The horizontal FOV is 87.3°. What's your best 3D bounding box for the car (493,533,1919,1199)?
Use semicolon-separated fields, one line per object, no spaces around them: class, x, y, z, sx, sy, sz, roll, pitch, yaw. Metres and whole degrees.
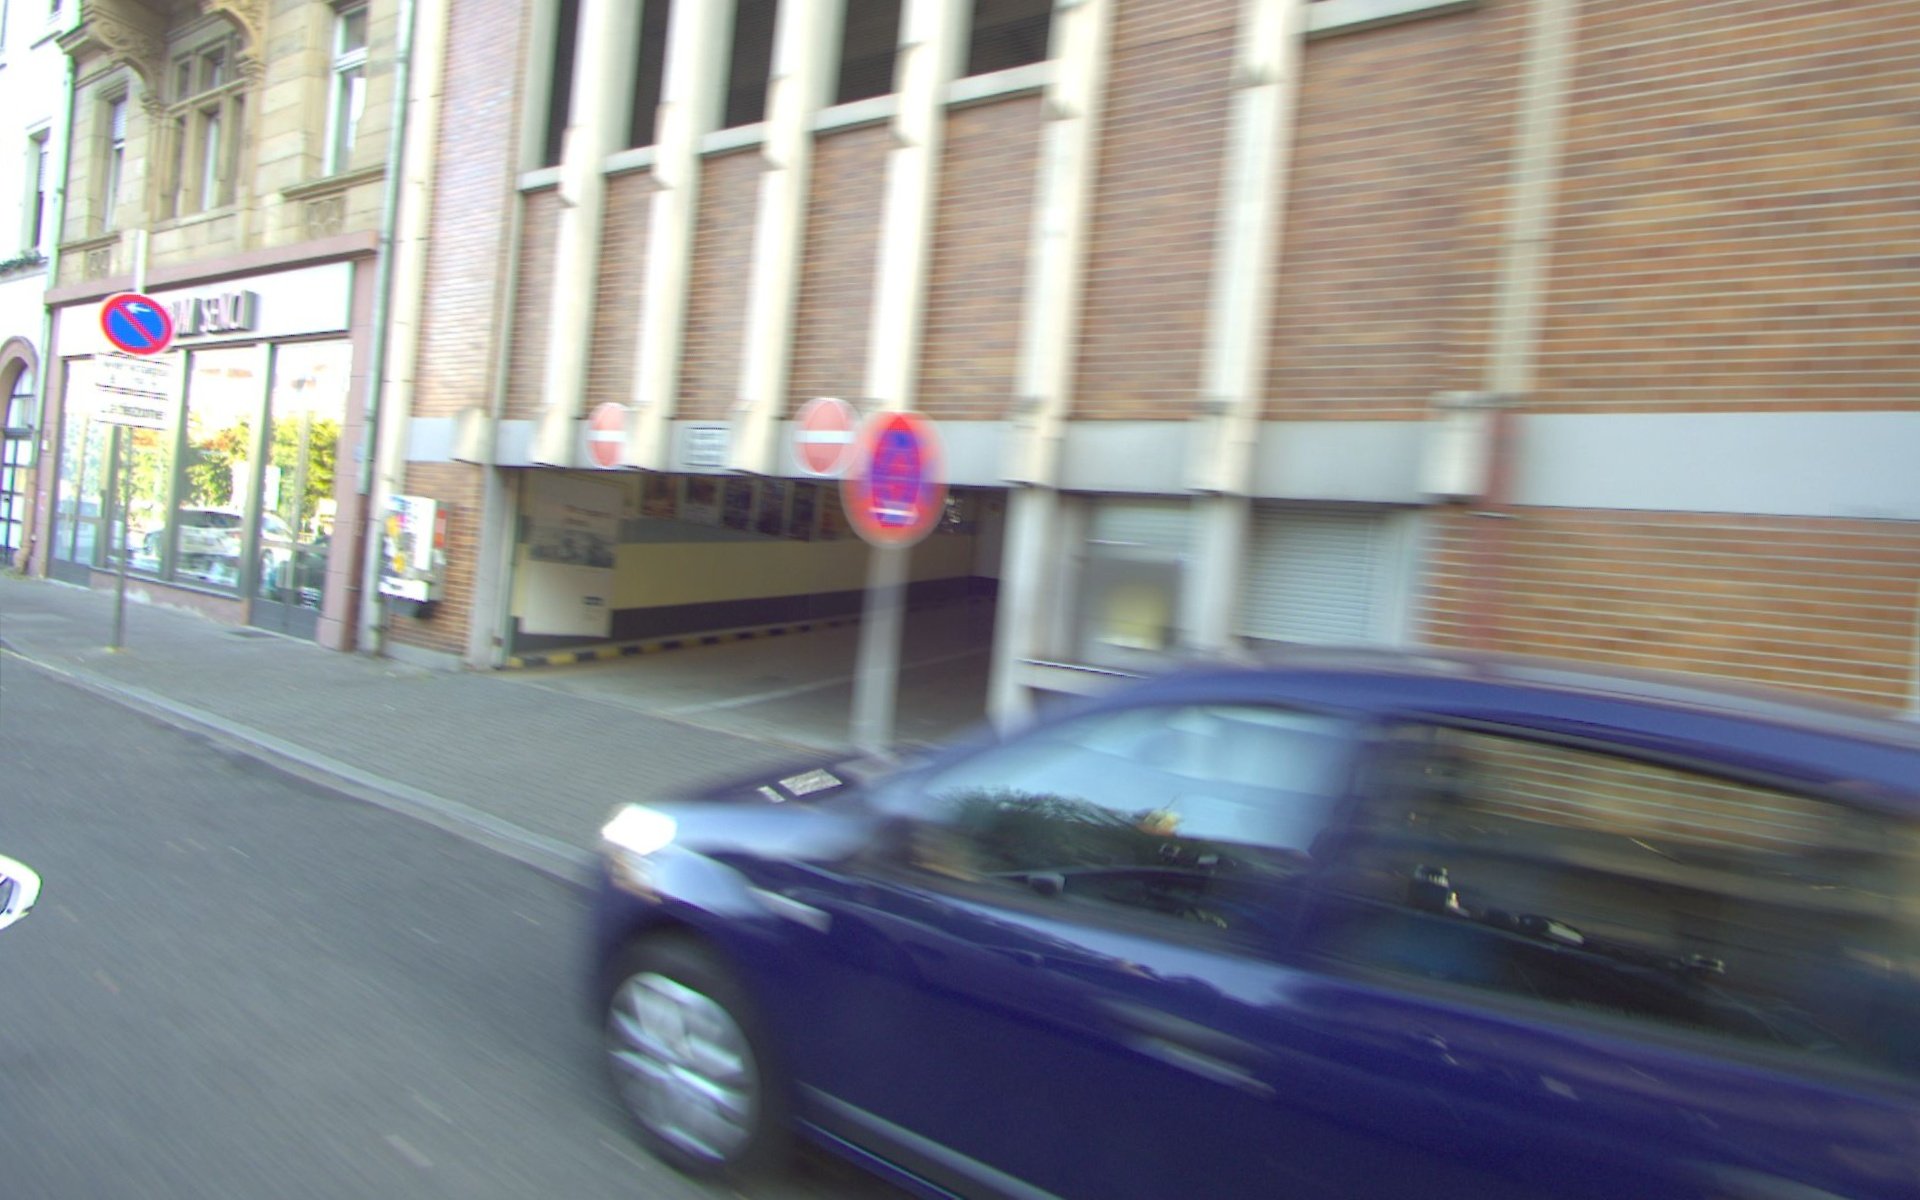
car;0.782;0.786;2.587;3.935;1.558;1.757;7;4;33
